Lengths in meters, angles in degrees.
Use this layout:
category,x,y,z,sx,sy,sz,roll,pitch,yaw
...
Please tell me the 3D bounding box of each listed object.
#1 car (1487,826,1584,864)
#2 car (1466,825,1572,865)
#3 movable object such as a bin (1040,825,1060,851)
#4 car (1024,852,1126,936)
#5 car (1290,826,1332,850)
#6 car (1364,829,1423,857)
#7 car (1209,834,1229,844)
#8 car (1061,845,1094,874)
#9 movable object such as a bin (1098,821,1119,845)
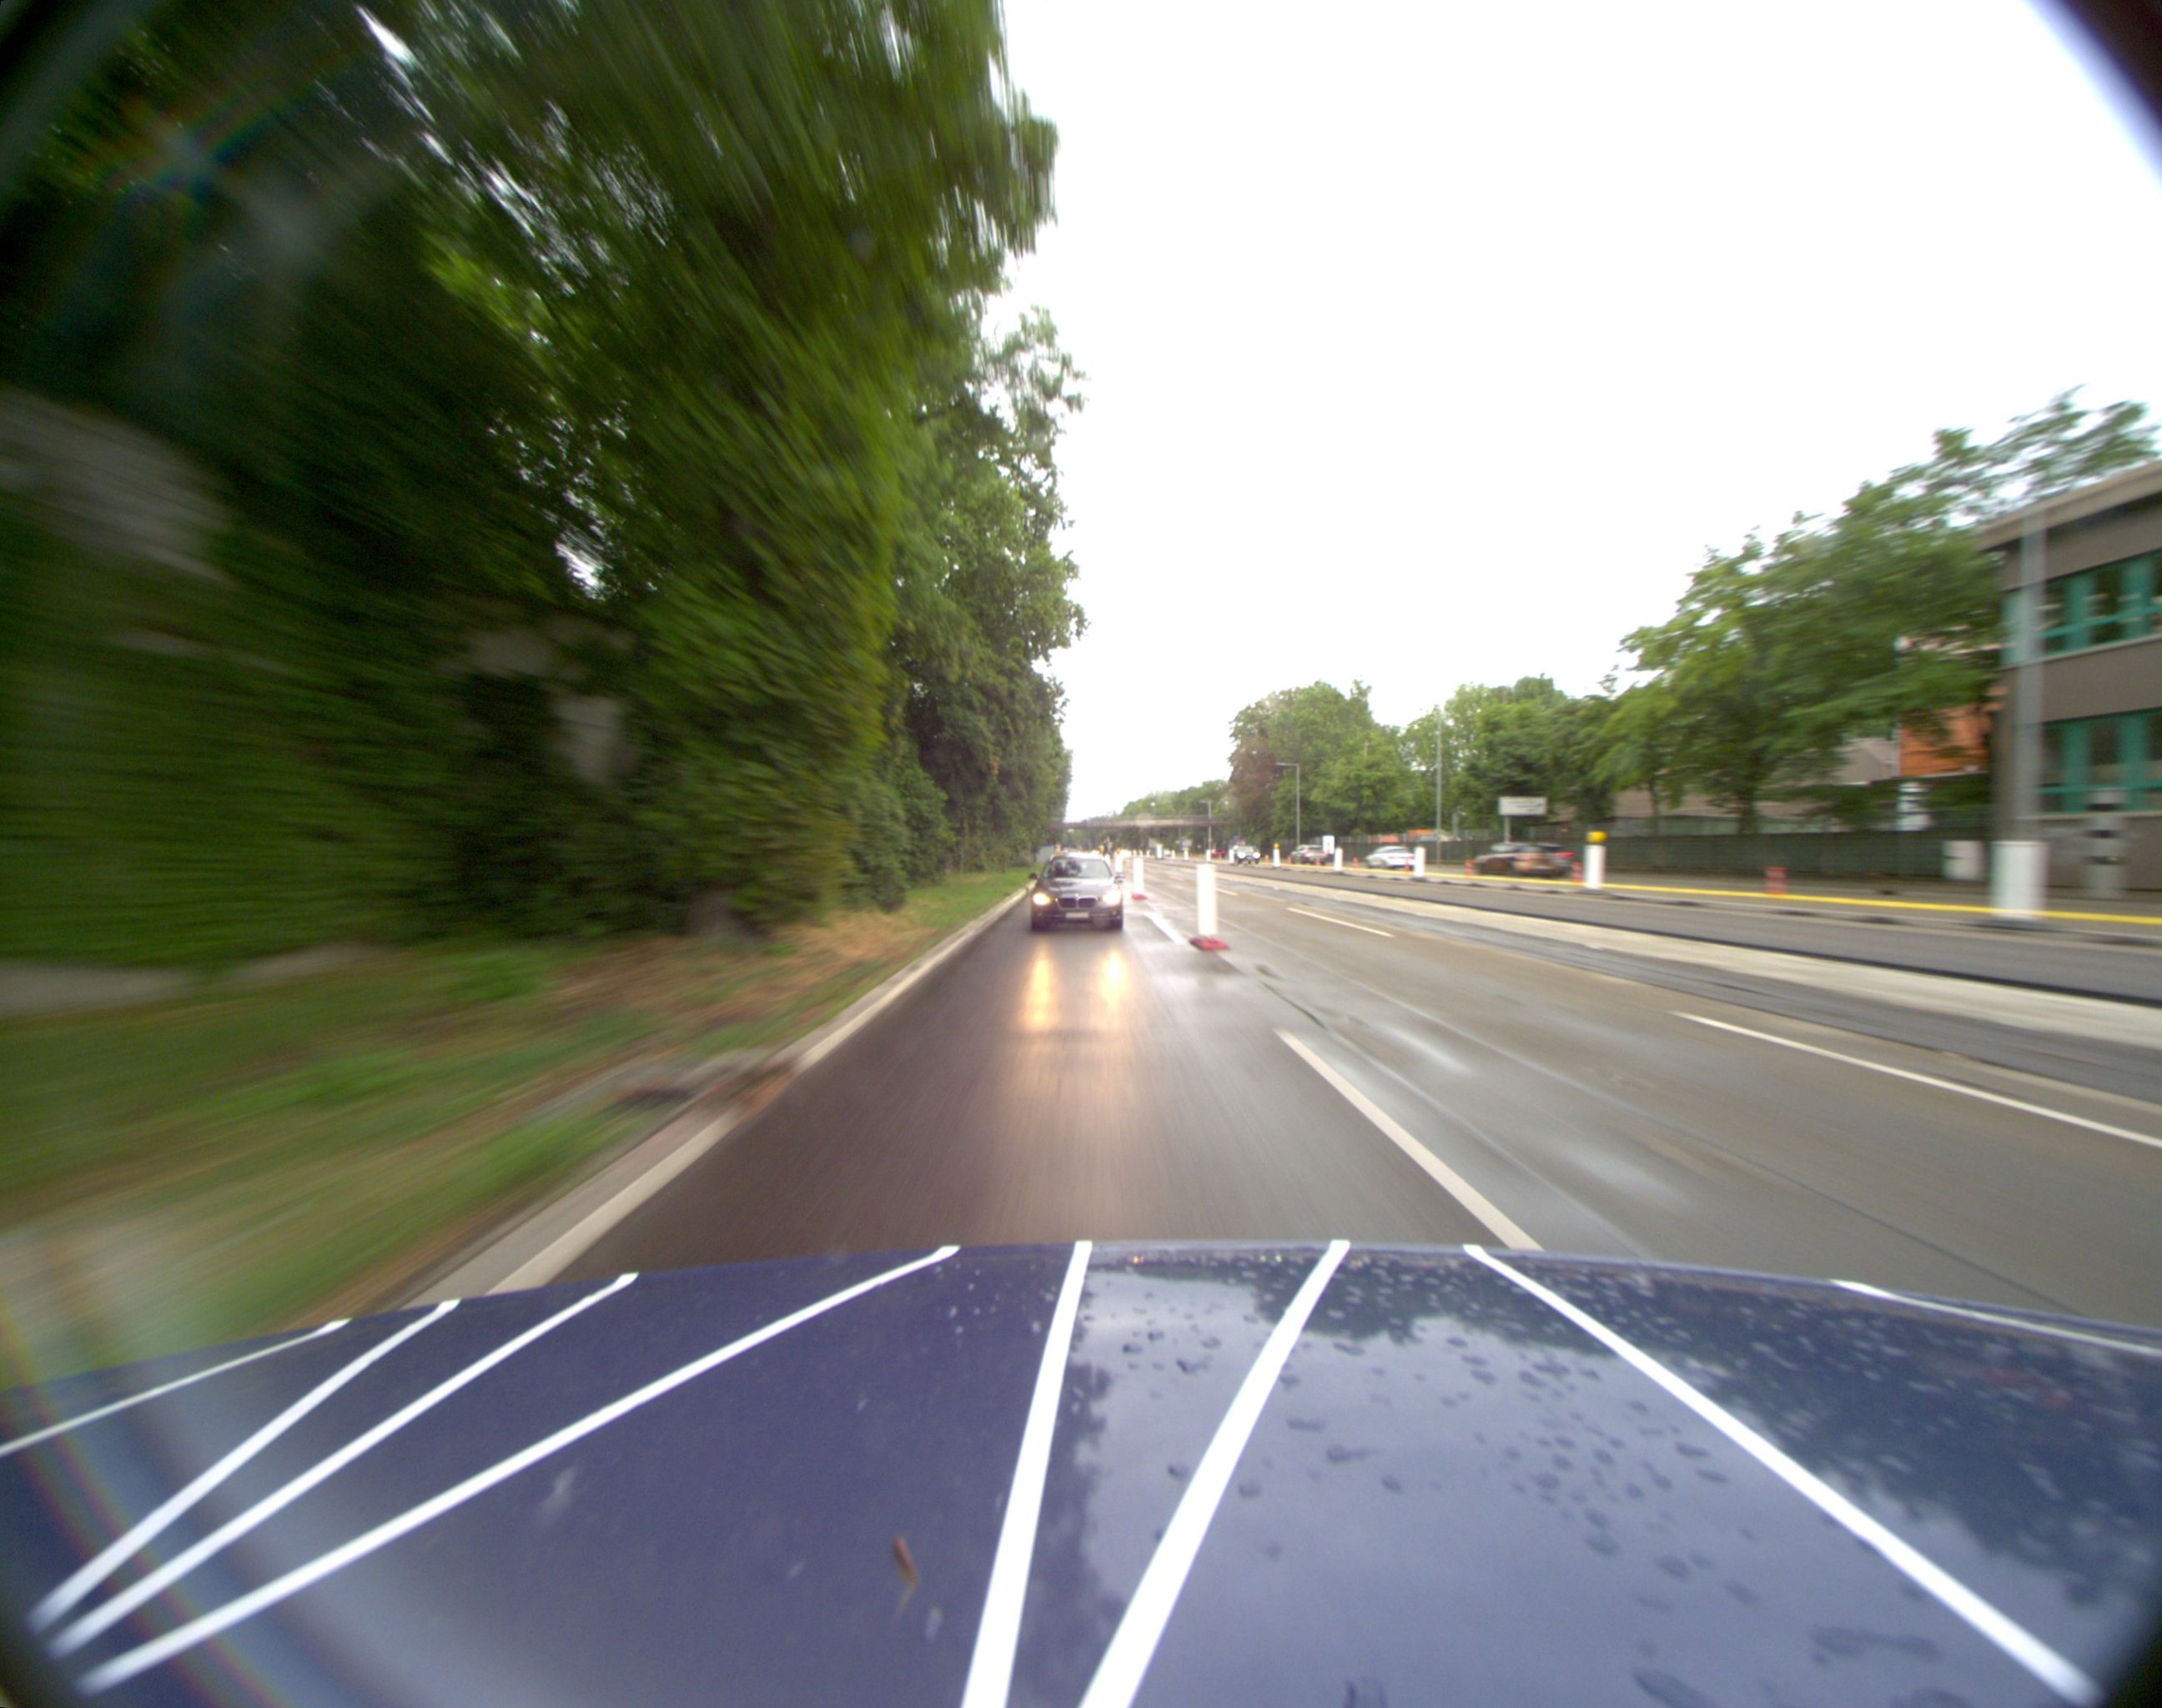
category,x,y,z,sx,sy,sz,roll,pitch,yaw
car,20.953,-0.448,35.235,1.999,1.577,4.177,-2,2,0
car,18.125,-0.411,31.688,1.898,1.493,4.515,-2,2,1
movable object such as a bin,-4.774,-2.463,118.409,2.890,3.918,6.103,-2,2,-2
car,-0.168,0.728,15.861,1.838,1.398,3.998,-2,2,-2
car,18.212,-1.296,60.347,1.993,1.758,4.673,-2,2,1
car,18.400,-0.682,44.955,1.808,1.526,3.990,-2,2,0
car,20.653,-2.255,113.909,1.999,1.421,4.263,-1,1,-1
car,-0.206,0.327,48.793,1.999,1.651,4.228,-2,2,0
movable object such as a bin,5.398,-4.077,150.448,3.527,4.496,10.066,-2,2,0
